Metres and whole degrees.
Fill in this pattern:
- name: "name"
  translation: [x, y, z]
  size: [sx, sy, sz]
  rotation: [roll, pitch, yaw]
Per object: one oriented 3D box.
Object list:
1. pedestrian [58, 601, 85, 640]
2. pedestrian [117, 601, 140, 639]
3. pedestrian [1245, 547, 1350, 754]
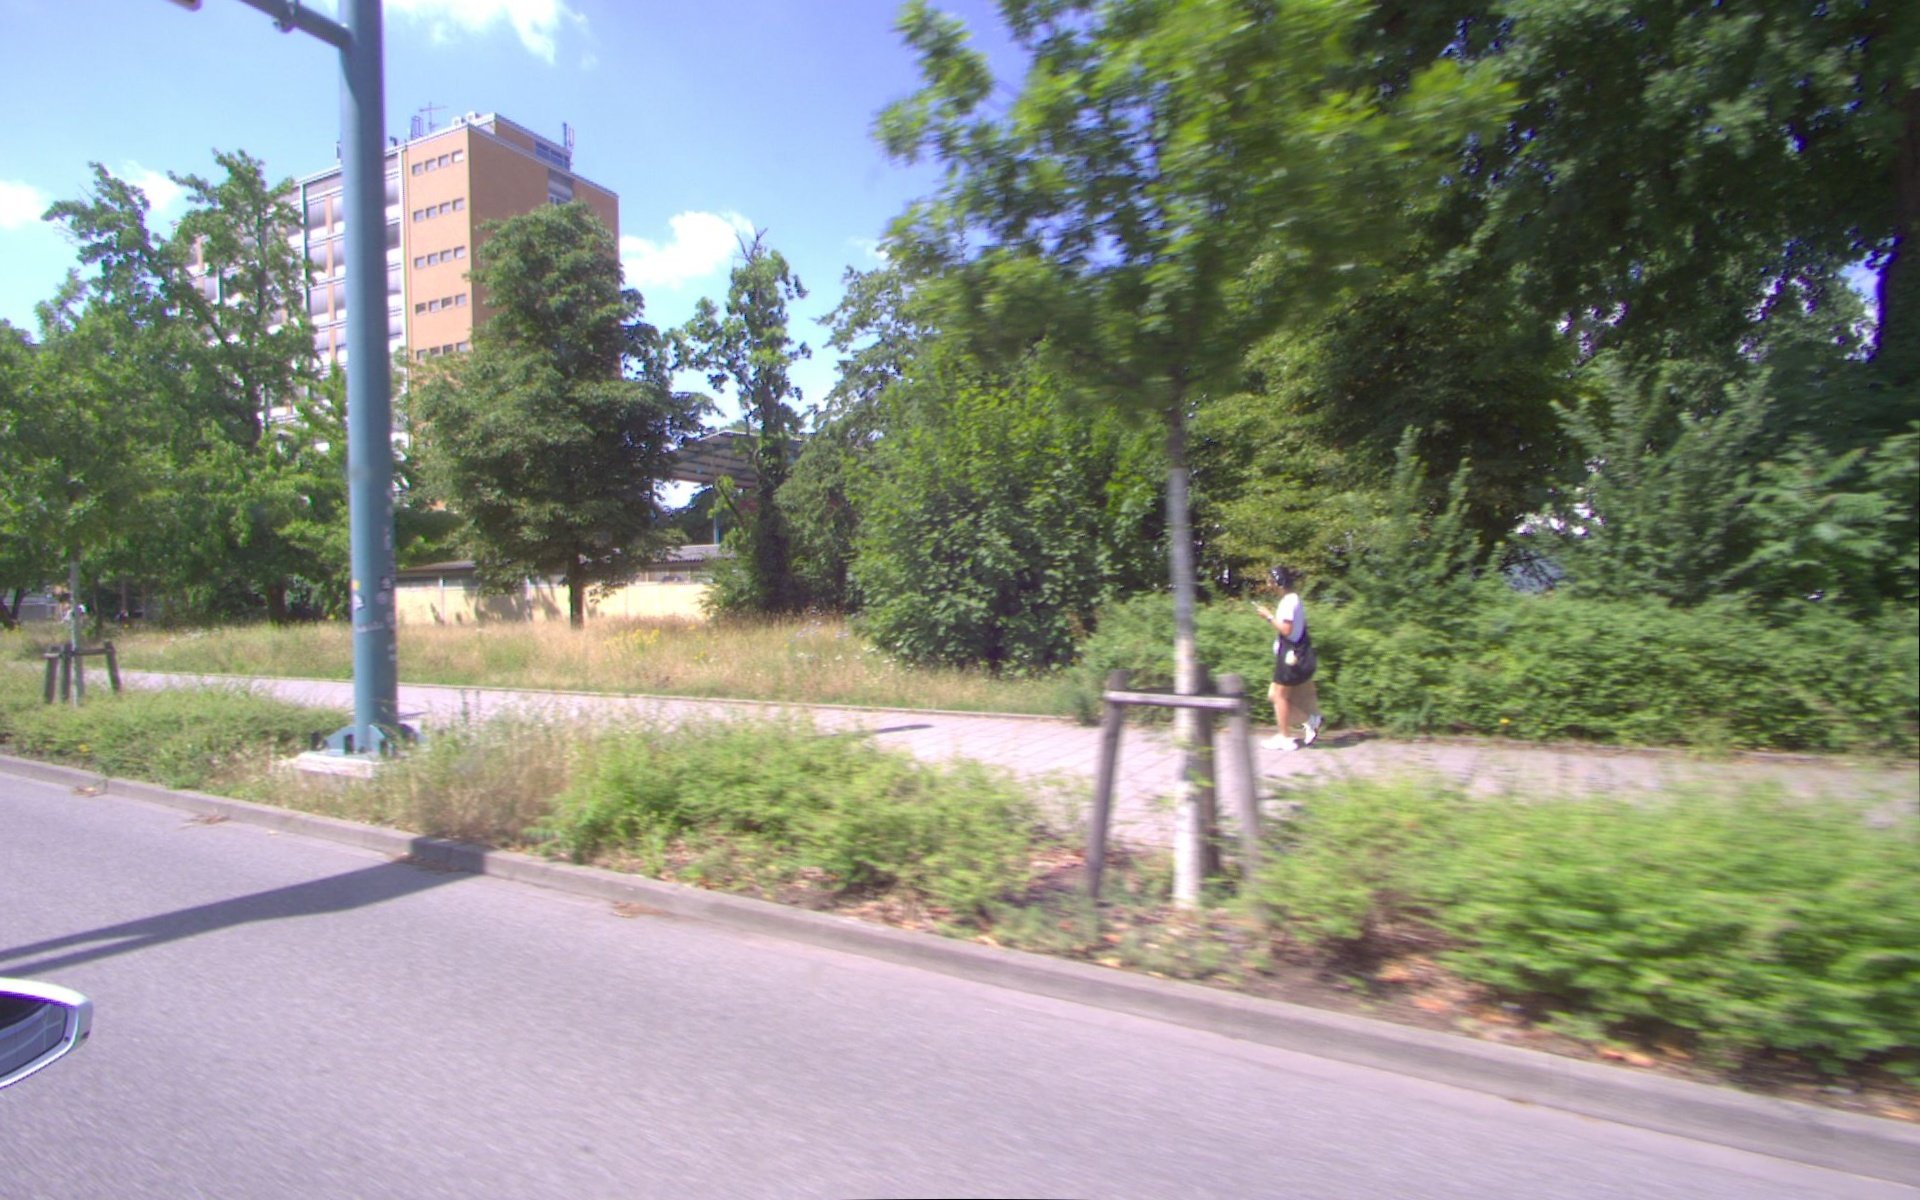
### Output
- name: "pedestrian"
  translation: [-47.703, 1.099, 53.788]
  size: [0.832, 2.085, 0.740]
  rotation: [0, 1, 15]
- name: "pedestrian"
  translation: [-45.549, 1.076, 54.853]
  size: [0.835, 2.085, 0.737]
  rotation: [-1, 1, -31]
- name: "pedestrian"
  translation: [3.010, 0.429, 8.921]
  size: [0.736, 1.744, 0.721]
  rotation: [0, 0, 32]
